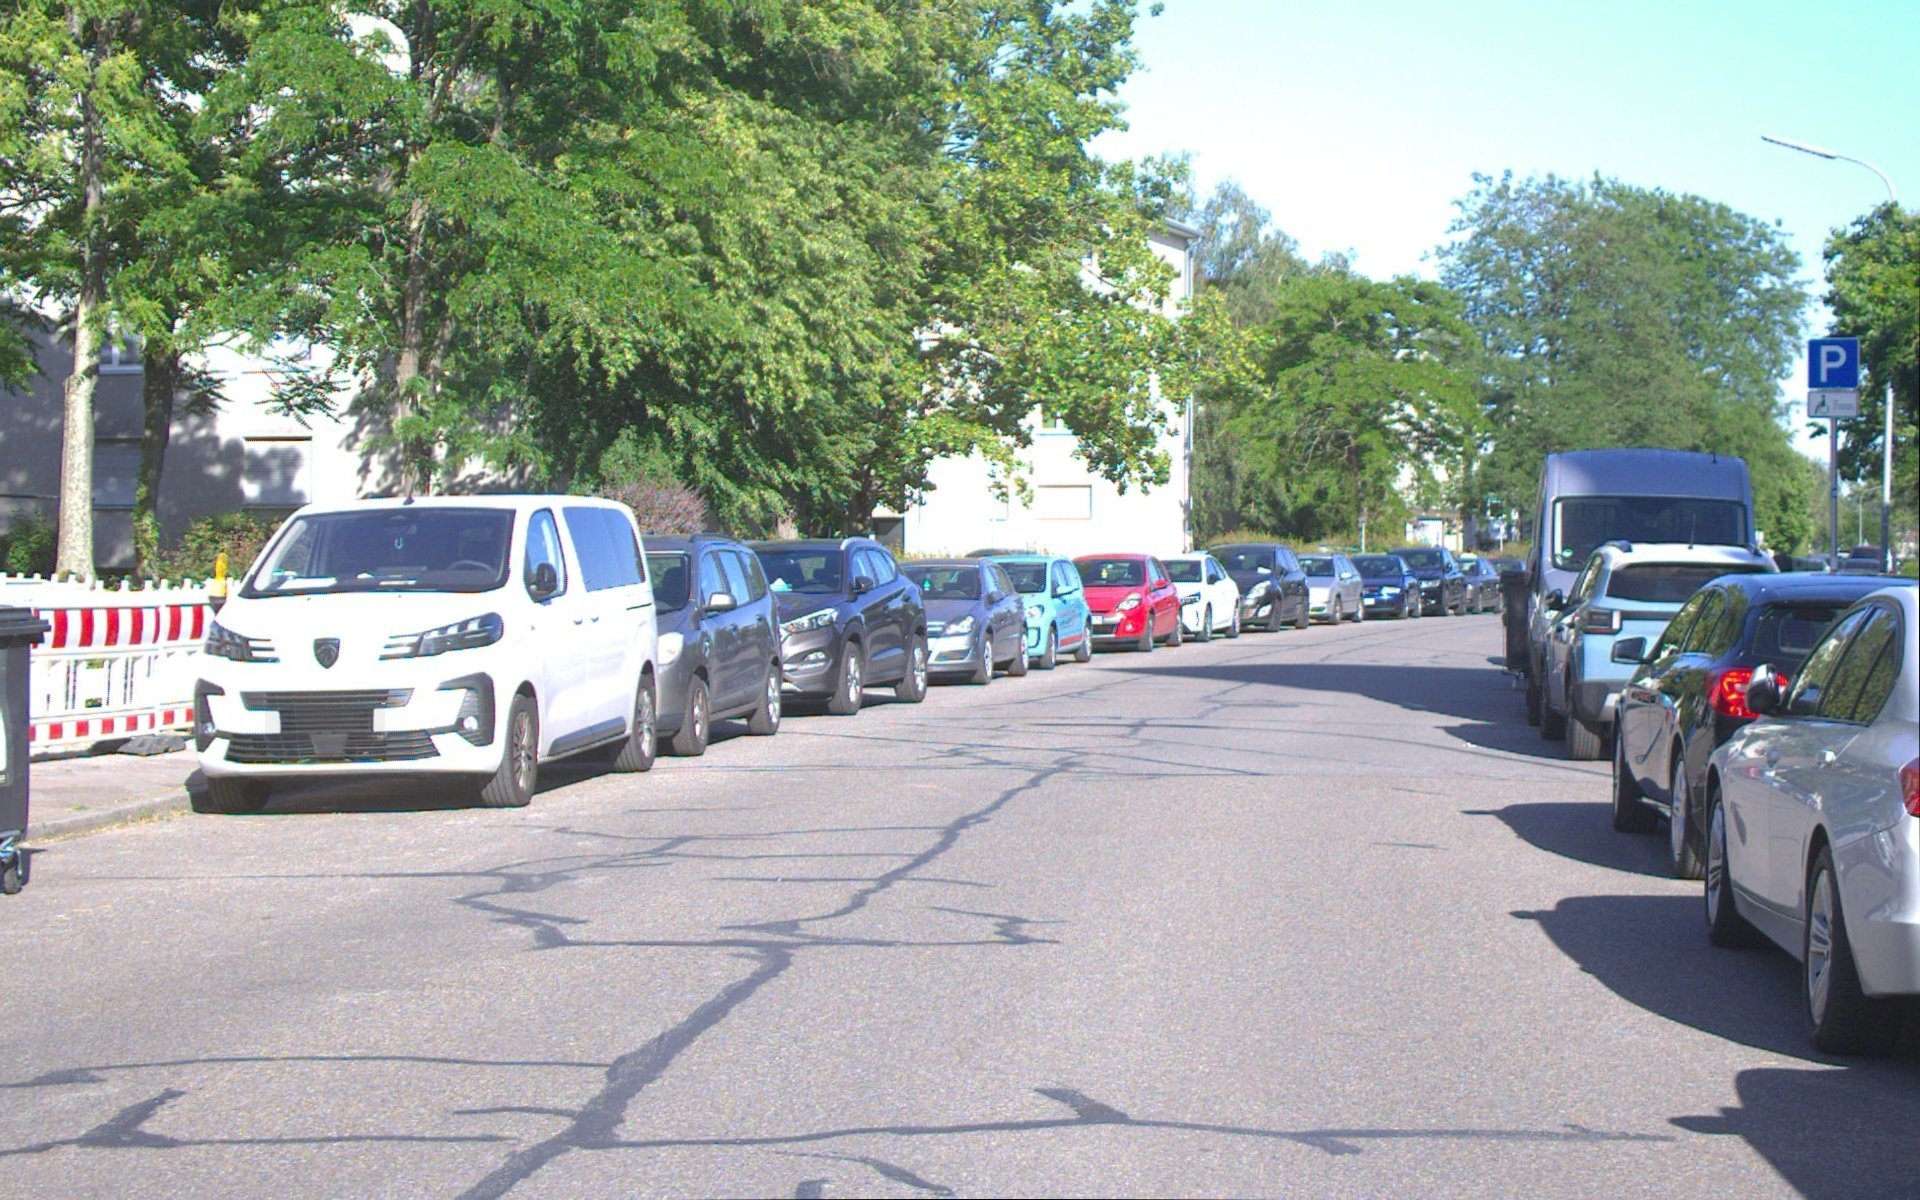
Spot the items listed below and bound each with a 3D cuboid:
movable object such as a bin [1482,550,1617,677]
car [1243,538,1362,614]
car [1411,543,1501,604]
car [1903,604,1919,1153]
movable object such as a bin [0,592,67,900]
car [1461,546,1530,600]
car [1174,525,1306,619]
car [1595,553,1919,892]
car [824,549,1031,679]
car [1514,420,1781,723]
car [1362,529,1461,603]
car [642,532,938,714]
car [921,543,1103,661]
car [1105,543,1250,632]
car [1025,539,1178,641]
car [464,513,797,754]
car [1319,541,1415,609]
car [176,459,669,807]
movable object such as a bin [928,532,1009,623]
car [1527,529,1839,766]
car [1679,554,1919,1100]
[{"bbox_3d":[6.387,0.139,37.208,1.270,1.309,1.121,-1,2,18],"label":"movable object such as a bin"},{"bbox_3d":[7.024,-0.509,70.202,1.661,1.481,4.049,-1,1,17],"label":"car"},{"bbox_3d":[12.366,-0.671,85.519,1.661,1.434,3.757,-1,1,17],"label":"car"},{"bbox_3d":[3.351,0.757,6.539,1.994,1.412,4.923,0,1,3],"label":"car"},{"bbox_3d":[-4.551,0.641,14.881,0.803,1.311,1.320,0,2,13],"label":"movable object such as a bin"},{"bbox_3d":[14.545,-0.733,93.247,1.390,1.408,3.123,-1,1,17],"label":"car"},{"bbox_3d":[5.240,-0.526,63.819,1.671,1.661,4.403,-1,1,15],"label":"car"},{"bbox_3d":[4.331,0.510,17.281,1.910,1.483,4.374,0,1,6],"label":"car"},{"bbox_3d":[-0.325,0.133,40.319,1.671,1.432,3.998,-1,1,10],"label":"car"},{"bbox_3d":[6.229,-0.285,31.750,2.105,2.477,5.854,2,1,9],"label":"car"},{"bbox_3d":[10.674,-0.811,81.078,1.661,1.682,4.046,-1,1,17],"label":"car"},{"bbox_3d":[-1.535,0.160,32.790,1.749,1.612,4.360,0,1,12],"label":"car"},{"bbox_3d":[0.731,0.005,45.336,1.671,1.469,3.676,-1,1,12],"label":"car"},{"bbox_3d":[3.666,-0.232,57.408,1.671,1.416,3.898,-1,1,15],"label":"car"},{"bbox_3d":[2.171,-0.175,52.023,1.671,1.469,3.676,-1,1,12],"label":"car"},{"bbox_3d":[-2.466,0.195,26.785,1.556,1.716,4.339,0,1,9],"label":"car"},{"bbox_3d":[8.947,-0.565,75.402,1.661,1.422,4.047,-1,1,13],"label":"car"},{"bbox_3d":[-3.239,0.137,21.725,1.864,1.954,4.669,0,1,7],"label":"car"},{"bbox_3d":[0.152,-0.386,57.332,1.111,1.493,1.408,0,2,11],"label":"movable object such as a bin"},{"bbox_3d":[5.445,0.298,26.396,1.910,1.660,4.374,0,1,6],"label":"car"},{"bbox_3d":[3.597,0.595,11.475,1.910,1.483,4.374,0,1,6],"label":"car"}]
